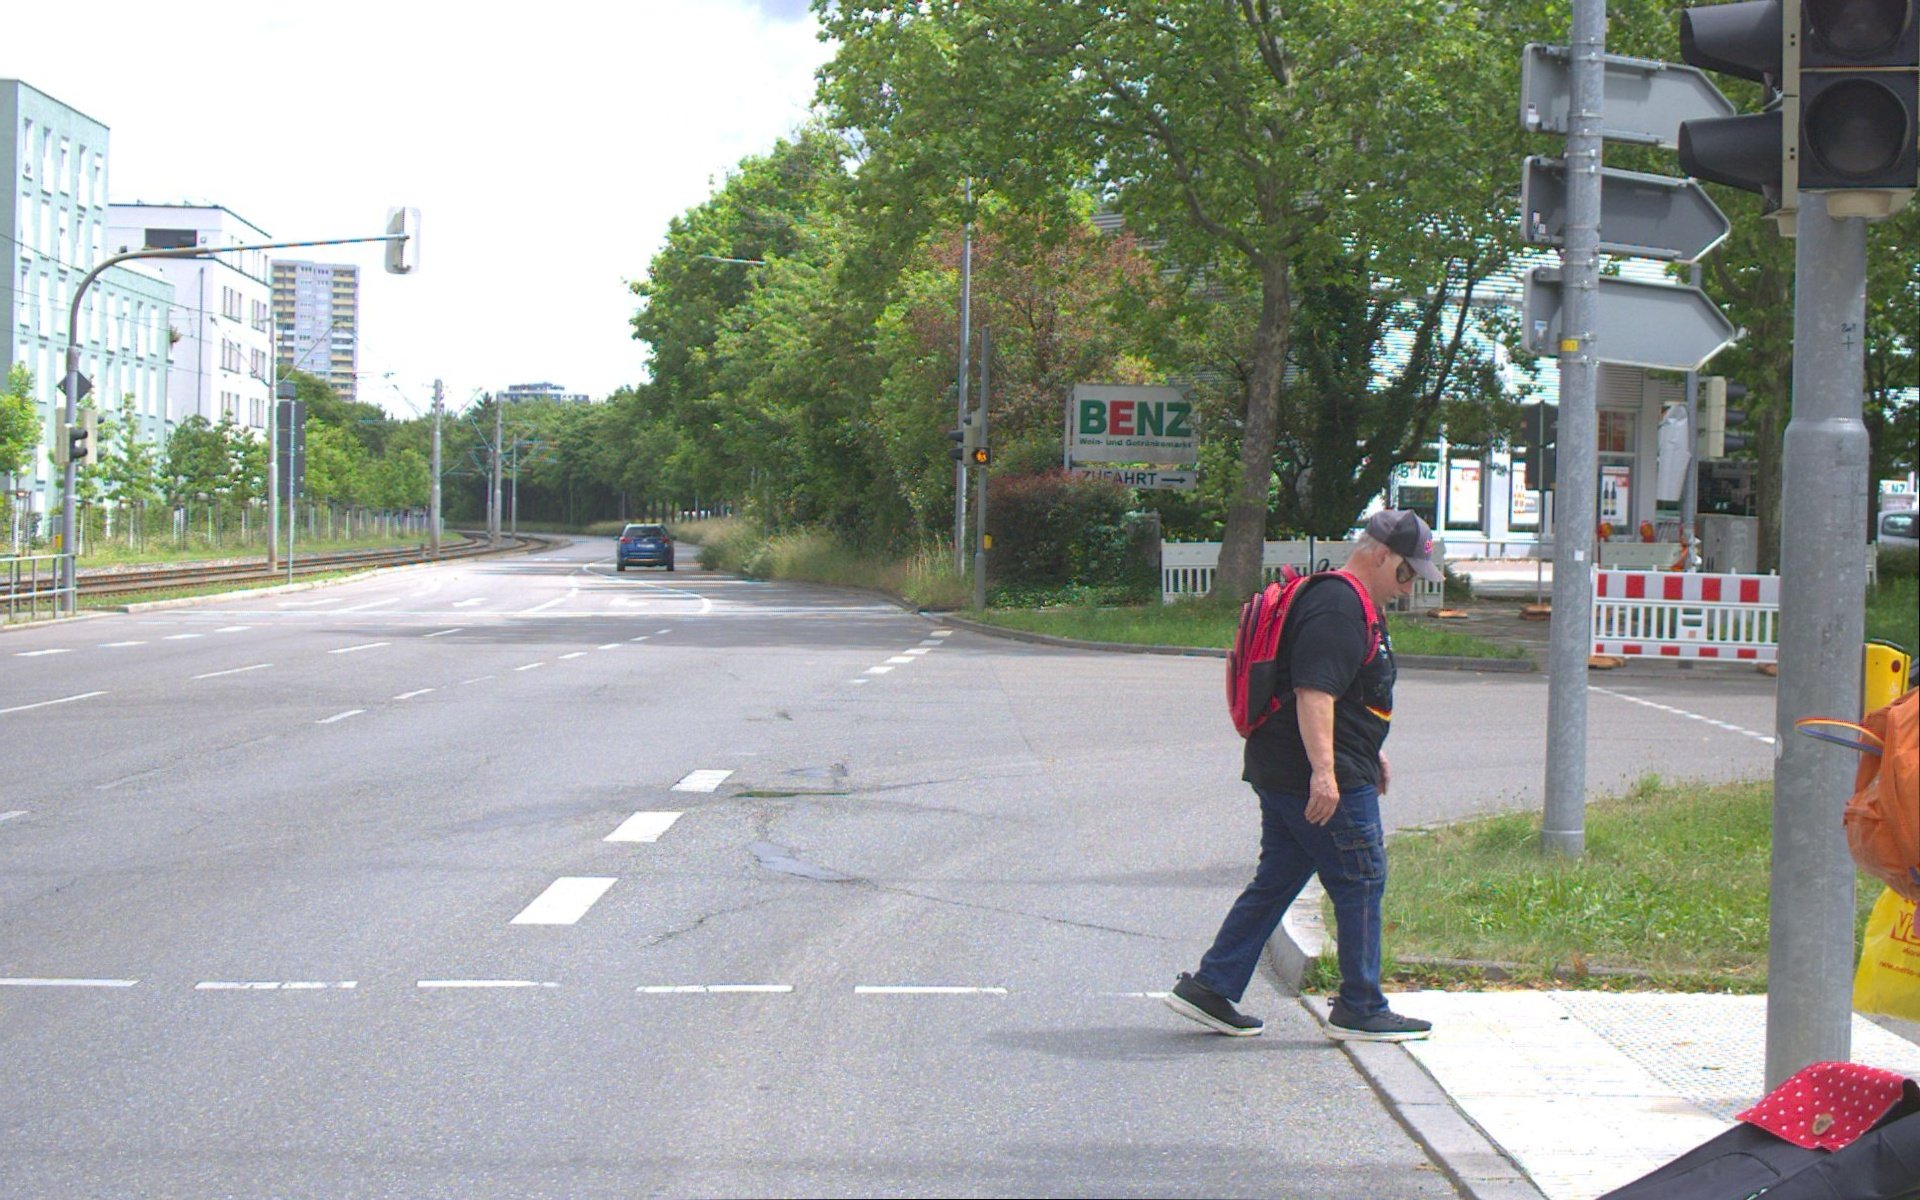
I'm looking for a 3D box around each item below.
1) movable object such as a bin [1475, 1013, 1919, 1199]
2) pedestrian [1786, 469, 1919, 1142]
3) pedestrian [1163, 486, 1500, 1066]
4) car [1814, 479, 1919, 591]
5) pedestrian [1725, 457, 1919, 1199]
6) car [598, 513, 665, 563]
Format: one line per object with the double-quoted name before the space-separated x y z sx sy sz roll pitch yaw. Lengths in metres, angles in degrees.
"movable object such as a bin" 1.291 1.058 5.570 0.795 0.659 0.778 1 1 0
"pedestrian" 2.617 0.483 8.611 0.912 1.601 0.929 1 1 5
"pedestrian" 1.097 0.473 9.989 0.893 1.591 0.908 1 1 10
"car" 17.745 -1.179 62.563 1.993 2.007 4.000 0 2 -32
"pedestrian" 1.805 0.548 5.724 0.881 1.549 0.746 1 1 0
"car" -10.096 -1.907 105.448 1.982 1.481 4.492 0 1 -6
